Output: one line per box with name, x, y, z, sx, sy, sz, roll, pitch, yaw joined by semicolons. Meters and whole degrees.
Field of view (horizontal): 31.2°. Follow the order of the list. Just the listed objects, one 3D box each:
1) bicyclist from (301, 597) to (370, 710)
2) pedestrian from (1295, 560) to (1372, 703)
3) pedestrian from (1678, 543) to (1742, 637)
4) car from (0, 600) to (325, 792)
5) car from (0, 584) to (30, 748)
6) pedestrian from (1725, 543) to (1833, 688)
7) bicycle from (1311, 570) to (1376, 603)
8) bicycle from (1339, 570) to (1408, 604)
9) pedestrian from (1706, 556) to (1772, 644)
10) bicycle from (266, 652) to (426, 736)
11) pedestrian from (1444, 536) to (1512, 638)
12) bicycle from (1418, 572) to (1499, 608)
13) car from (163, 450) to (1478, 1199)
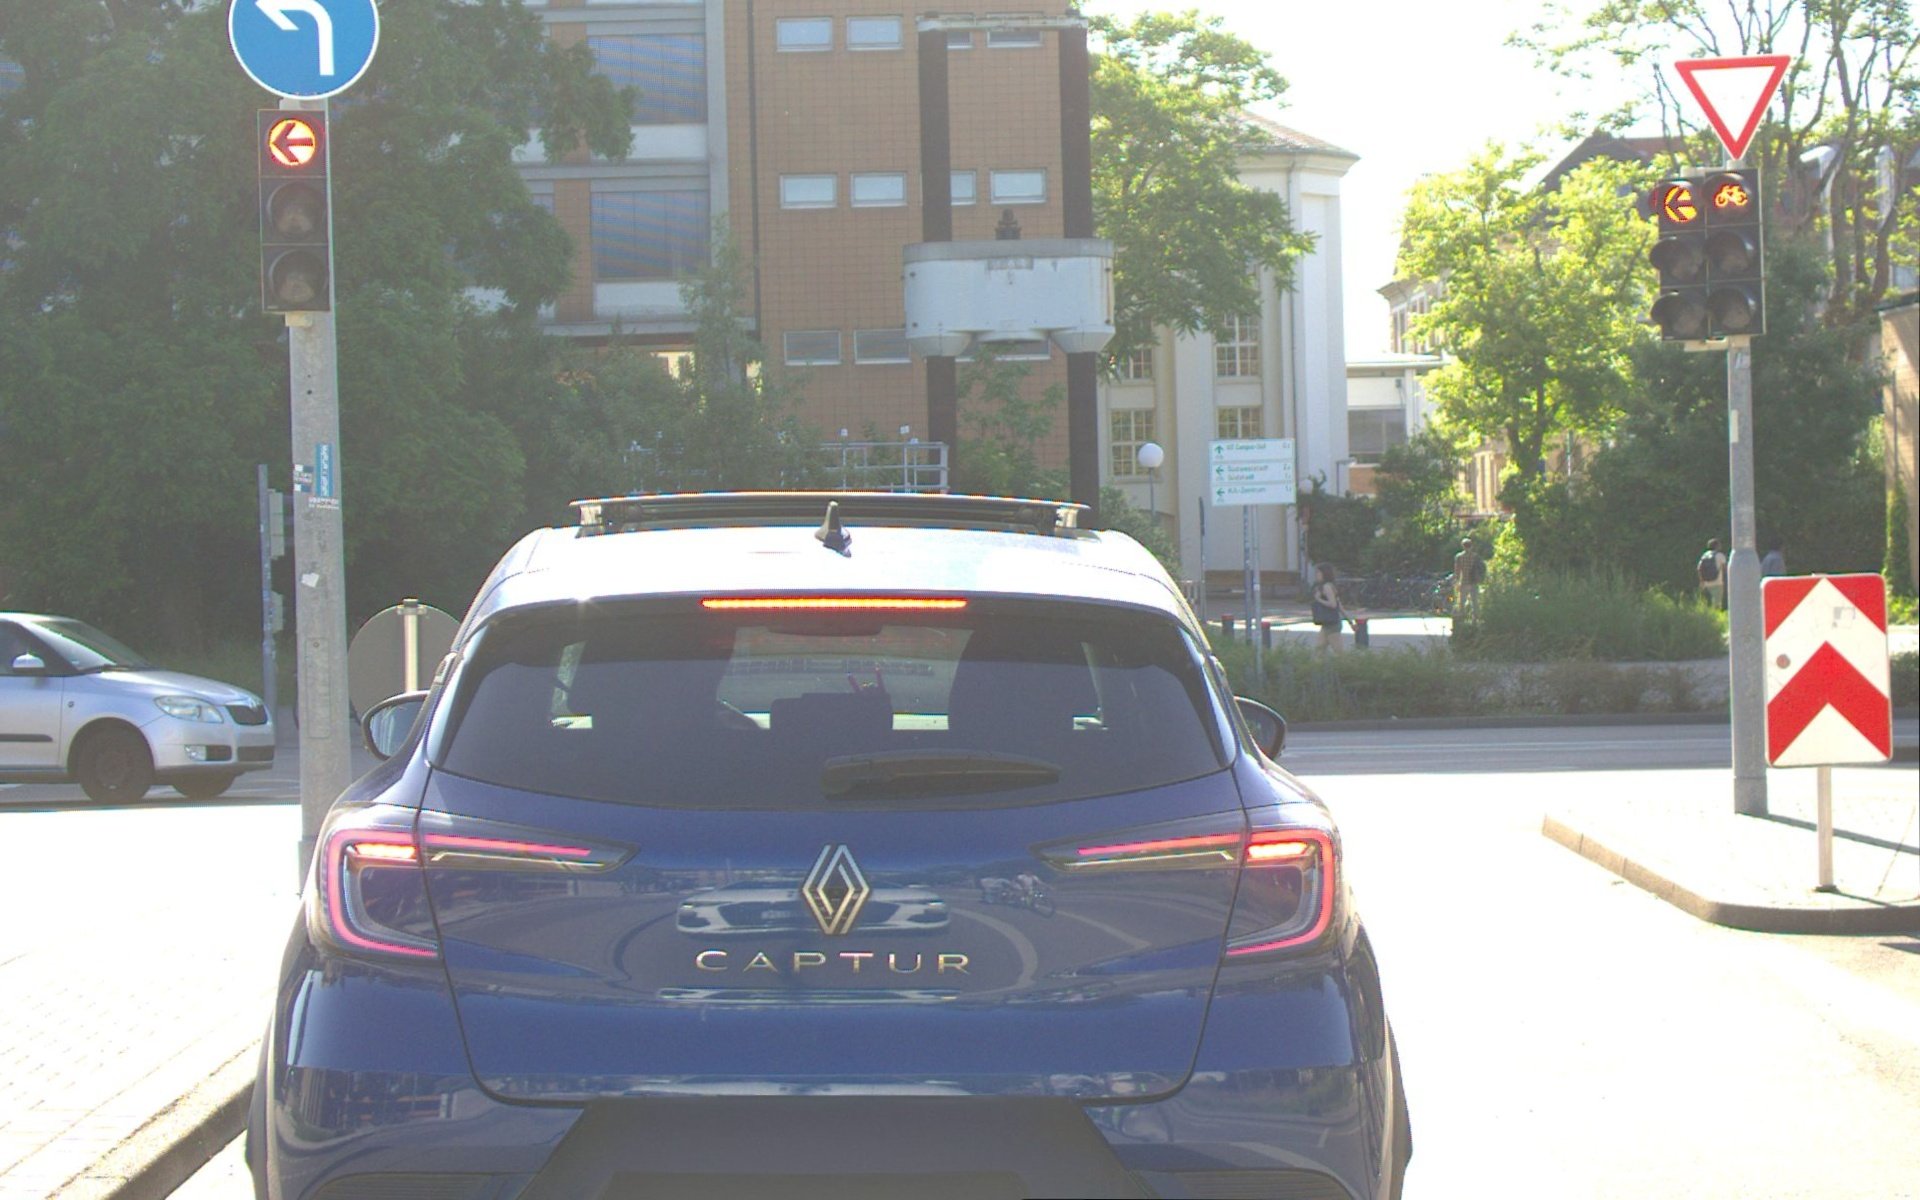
bicyclist;-7.967;0.682;43.843;0.636;1.407;0.649;-1;-2;-31
pedestrian;4.927;0.411;45.294;0.932;1.849;0.807;-1;1;9
pedestrian;14.129;-0.192;64.779;0.953;1.735;0.984;-1;1;0
car;-7.072;0.734;26.457;3.846;1.398;1.891;0;-2;13
car;-14.264;0.861;42.371;5.002;2.007;2.071;-1;1;15
pedestrian;10.661;0.190;44.797;1.298;1.849;0.965;-1;1;11
bicycle;11.064;-0.387;99.204;1.771;0.890;0.765;-1;1;0
bicycle;11.403;-0.357;94.840;1.771;0.895;0.765;-1;1;0
pedestrian;14.523;-0.009;64.096;0.936;1.607;1.176;-1;1;0
bicycle;-7.841;1.200;43.926;1.862;1.004;0.700;-1;-2;-29
pedestrian;10.463;-0.268;69.541;1.156;2.007;1.164;-1;1;0
bicycle;12.034;-0.243;83.038;1.770;0.820;0.766;-1;1;-10
car;-0.242;0.590;6.643;1.794;1.649;3.853;0;1;-2
